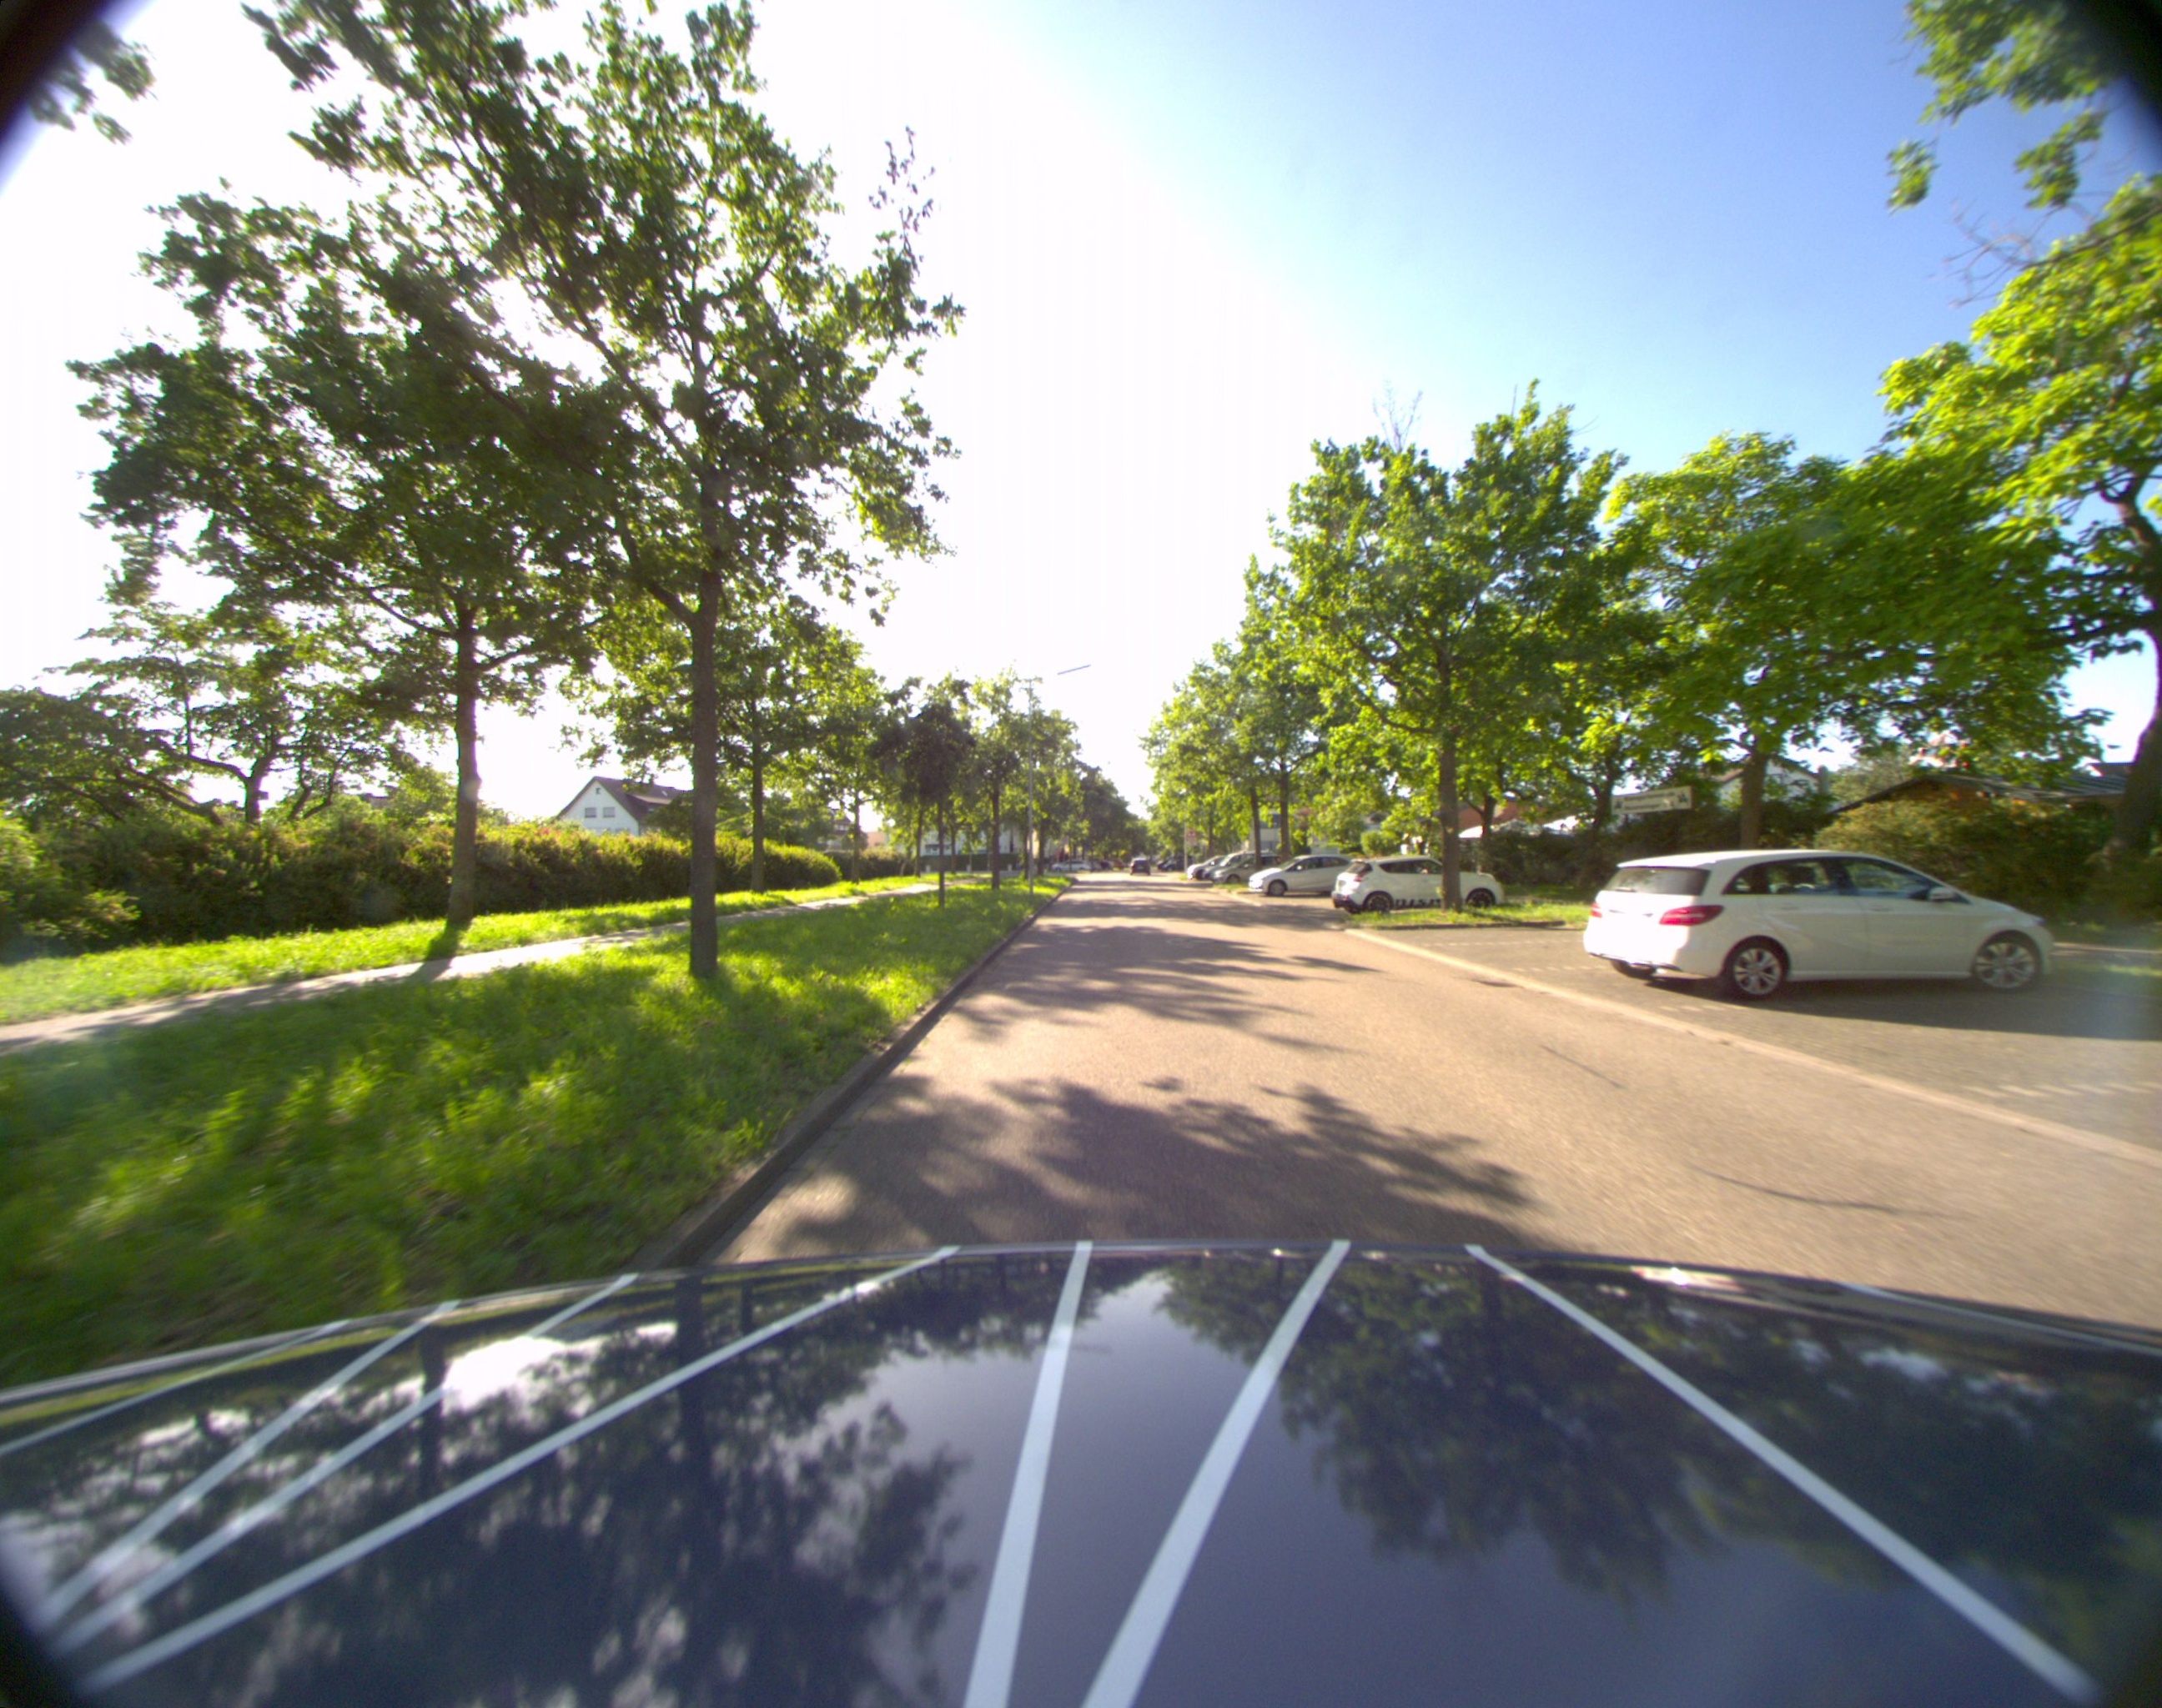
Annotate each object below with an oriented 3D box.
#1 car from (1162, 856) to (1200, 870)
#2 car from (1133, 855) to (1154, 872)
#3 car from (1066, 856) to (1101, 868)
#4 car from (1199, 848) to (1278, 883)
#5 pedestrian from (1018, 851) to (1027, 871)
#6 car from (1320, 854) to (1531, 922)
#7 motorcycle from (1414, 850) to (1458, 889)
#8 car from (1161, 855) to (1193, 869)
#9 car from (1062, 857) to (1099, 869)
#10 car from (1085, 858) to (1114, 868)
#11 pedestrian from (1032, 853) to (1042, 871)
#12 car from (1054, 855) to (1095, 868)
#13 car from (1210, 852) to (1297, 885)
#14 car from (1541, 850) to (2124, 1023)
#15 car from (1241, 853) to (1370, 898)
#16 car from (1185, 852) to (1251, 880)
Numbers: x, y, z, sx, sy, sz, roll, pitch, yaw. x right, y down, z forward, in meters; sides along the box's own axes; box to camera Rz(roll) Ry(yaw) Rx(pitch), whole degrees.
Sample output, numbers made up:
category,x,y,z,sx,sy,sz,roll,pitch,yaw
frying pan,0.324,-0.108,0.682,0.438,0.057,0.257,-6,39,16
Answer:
category,x,y,z,sx,sy,sz,roll,pitch,yaw
car,11.077,1.020,84.182,4.033,1.470,1.942,0,0,7
car,5.373,0.800,65.412,1.688,1.394,4.428,0,0,3
car,0.312,1.055,99.688,4.511,1.470,1.942,0,0,3
car,9.291,0.669,45.018,4.238,1.872,1.999,-2,0,1
pedestrian,-6.041,0.726,78.519,0.609,2.002,0.836,0,0,33
car,8.663,0.829,19.449,4.423,1.502,2.088,-2,0,0
motorcycle,13.708,0.588,29.396,0.739,1.424,1.991,-4,0,2
car,12.516,1.053,98.872,4.033,1.767,1.942,0,0,7
car,-0.008,1.124,94.651,4.511,1.470,1.942,0,0,3
car,2.970,1.401,120.695,4.511,1.470,1.942,0,0,3
pedestrian,-4.483,0.853,78.040,0.664,1.855,0.871,0,0,31
car,-0.732,0.867,85.917,4.511,1.470,1.942,0,0,3
car,9.013,0.755,39.847,4.145,1.547,1.866,-2,0,3
car,8.278,0.832,8.754,4.639,1.549,2.191,-2,0,-3
car,8.709,0.817,29.809,4.422,1.547,2.088,-2,0,3
car,9.064,0.791,50.414,4.072,1.633,1.876,-2,0,4
